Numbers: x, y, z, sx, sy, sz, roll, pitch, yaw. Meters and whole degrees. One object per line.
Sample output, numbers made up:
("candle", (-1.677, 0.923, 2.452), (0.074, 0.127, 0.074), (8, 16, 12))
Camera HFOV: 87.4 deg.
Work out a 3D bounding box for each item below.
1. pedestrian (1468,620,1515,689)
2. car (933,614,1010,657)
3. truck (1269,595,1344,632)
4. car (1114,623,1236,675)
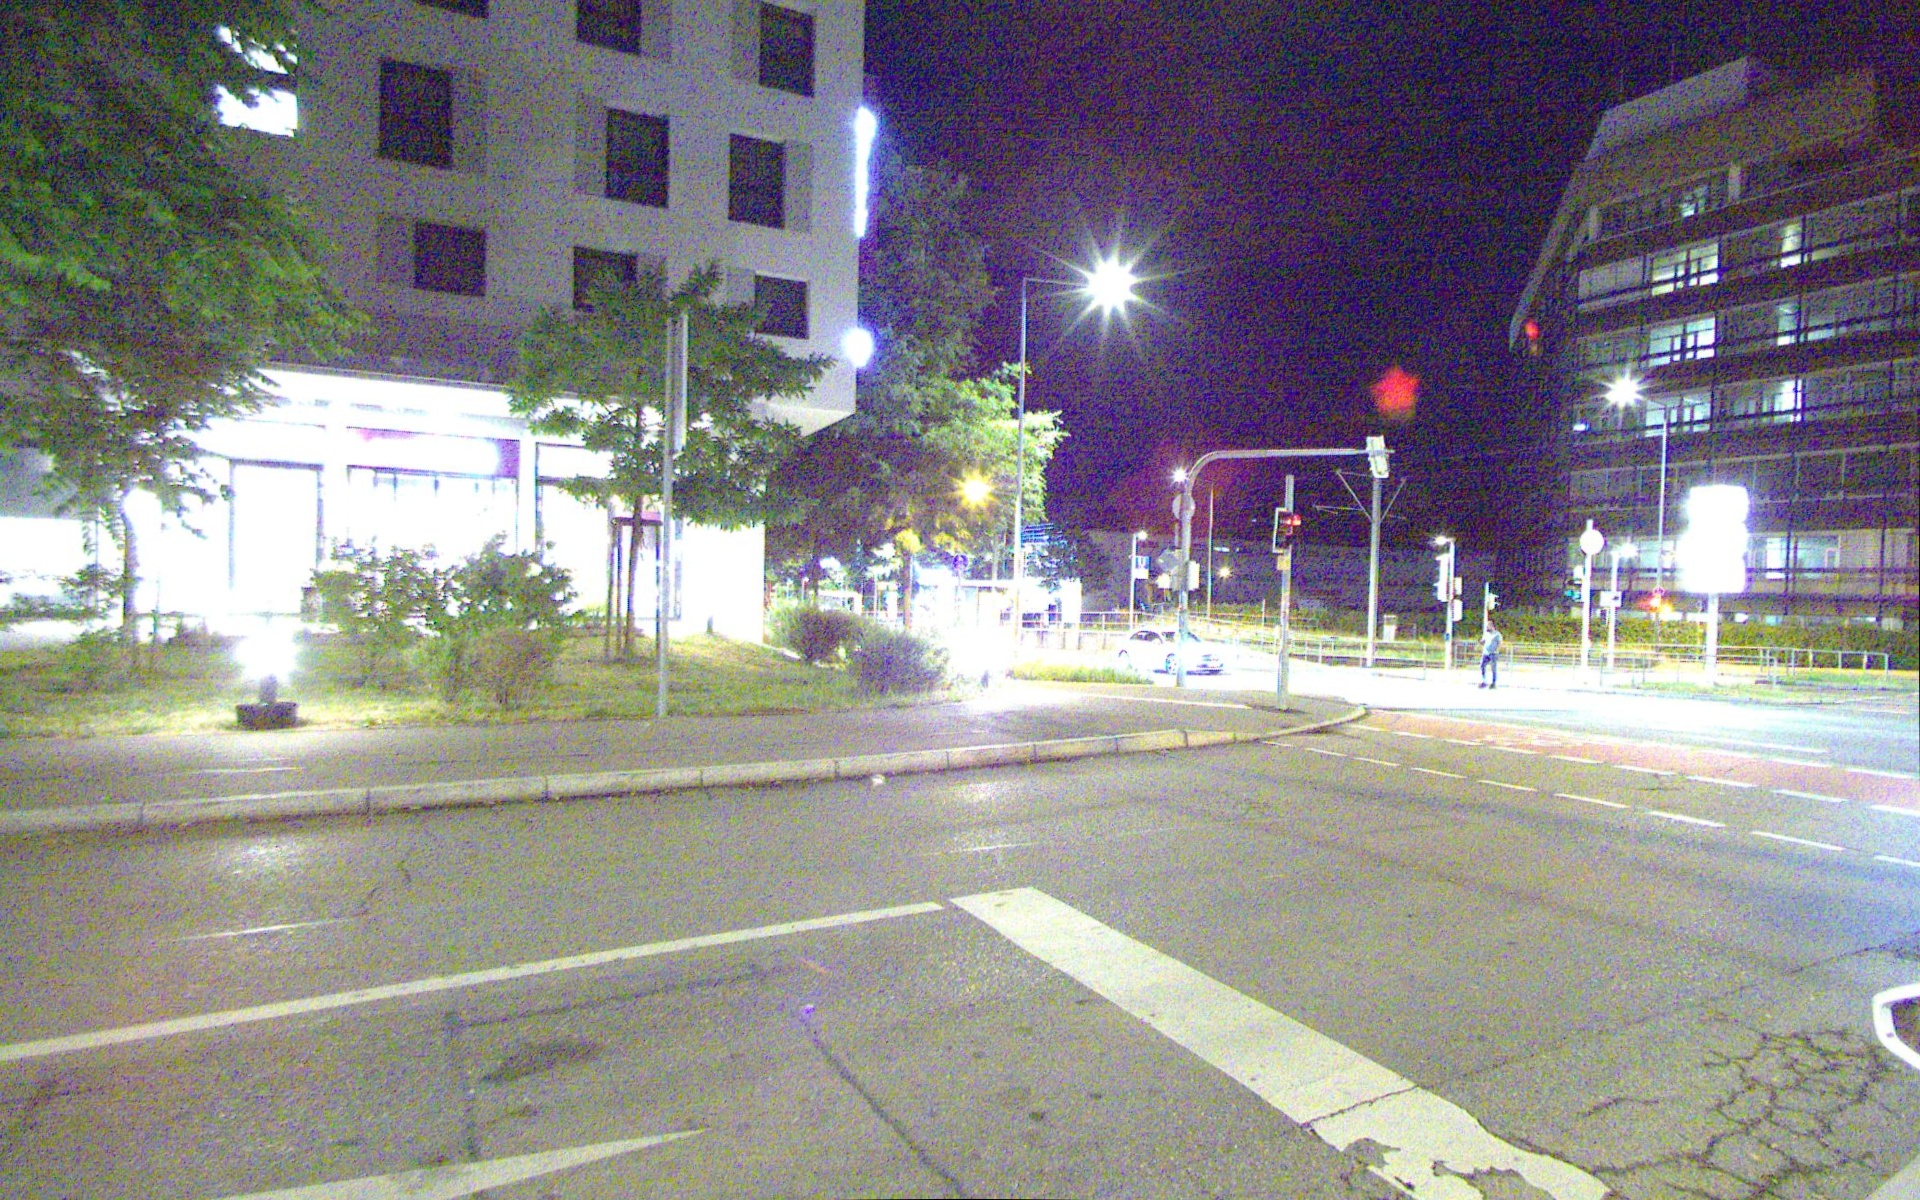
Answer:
("pedestrian", (13.177, 1.337, 24.903), (0.854, 1.656, 0.665), (2, 0, -34))
("car", (0.395, 1.384, 39.978), (1.877, 1.591, 3.984), (2, -1, -18))
("truck", (30.835, 1.177, 89.626), (2.877, 3.129, 5.873), (2, 0, -28))
("car", (6.849, 1.538, 32.433), (1.793, 1.522, 4.177), (0, -1, -23))
